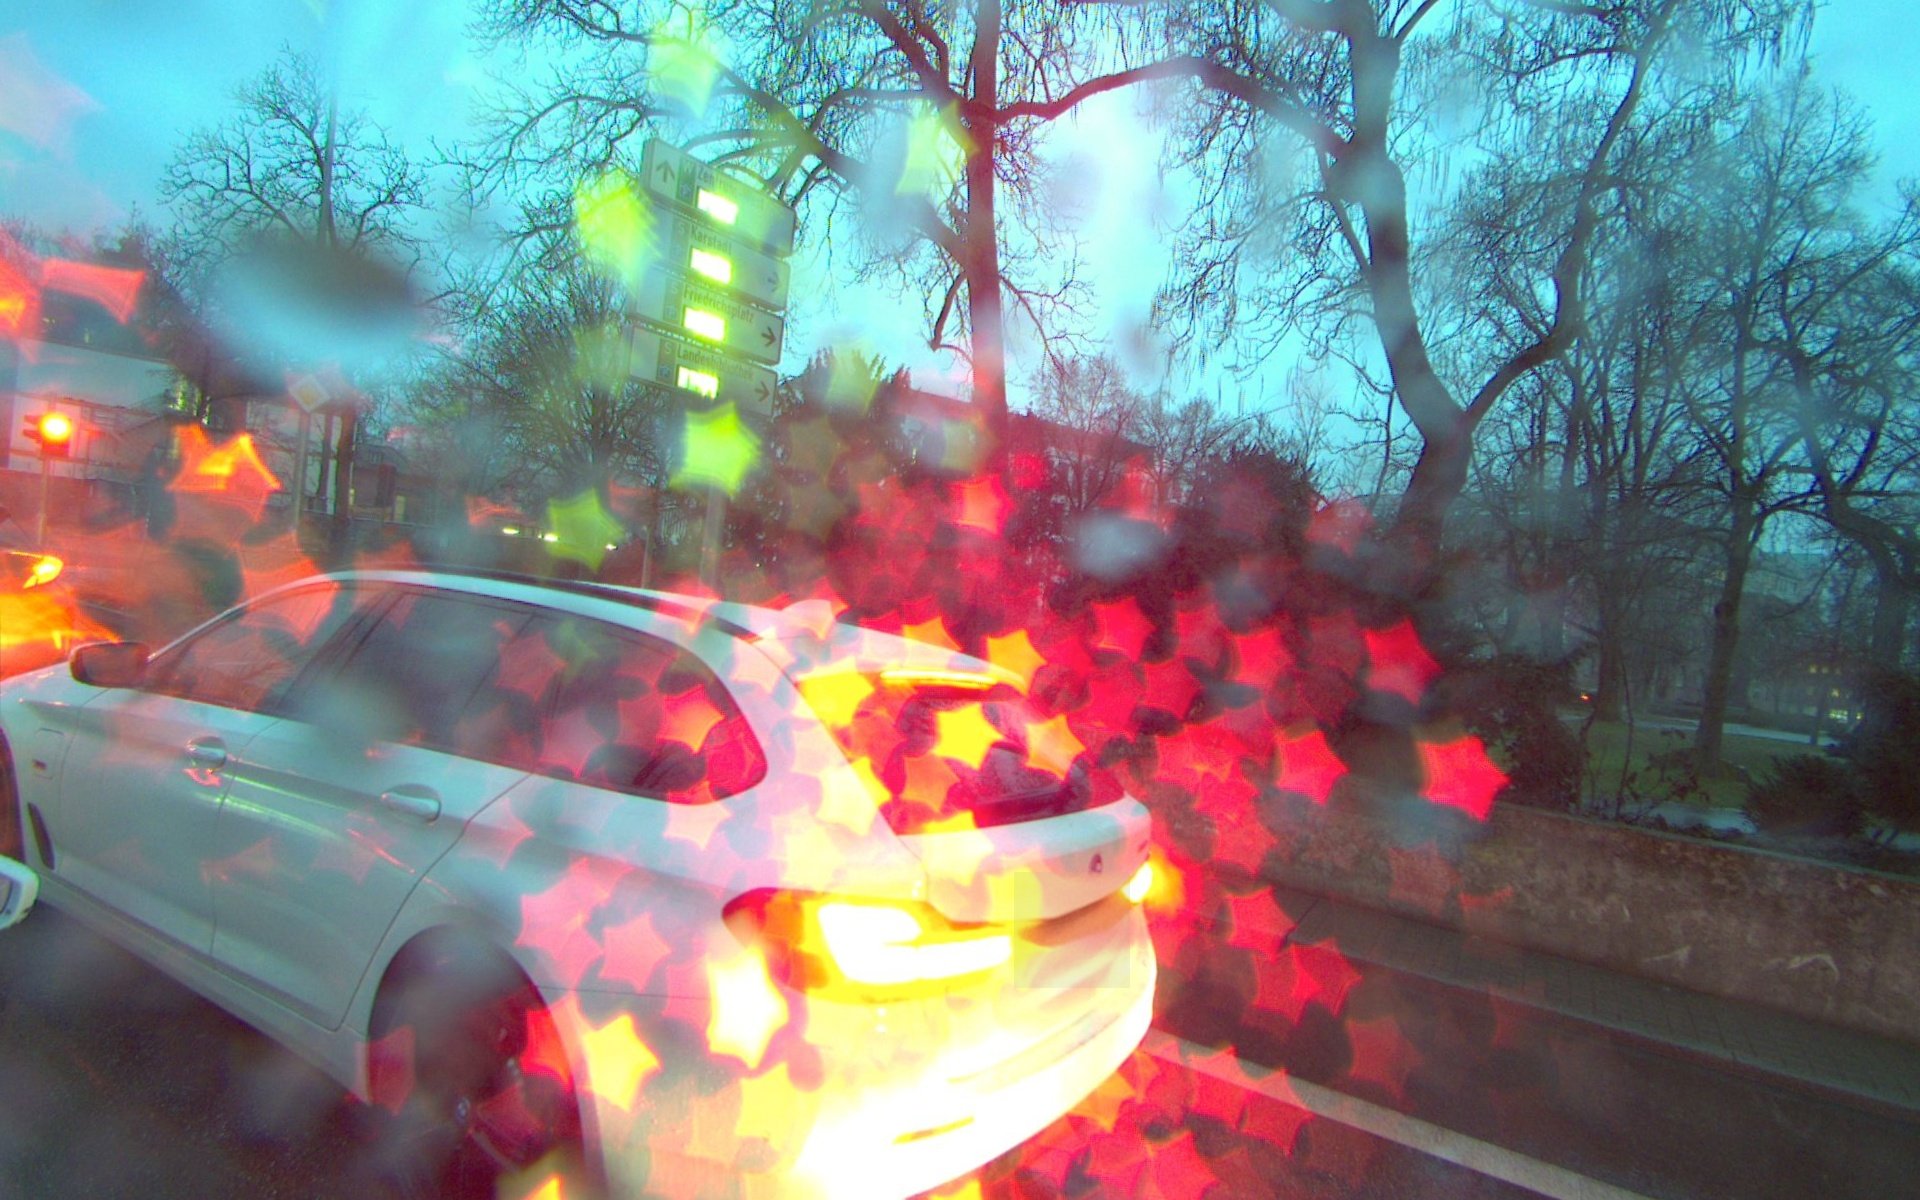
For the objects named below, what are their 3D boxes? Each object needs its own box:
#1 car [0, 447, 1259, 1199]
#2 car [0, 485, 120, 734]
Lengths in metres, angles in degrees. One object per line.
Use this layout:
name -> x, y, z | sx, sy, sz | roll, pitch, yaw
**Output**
car -> -1.677, 0.472, 3.601 | 4.853, 1.575, 1.866 | 7, 0, 29
car -> -7.677, -0.150, 6.860 | 3.831, 1.529, 1.802 | 7, 0, 32
